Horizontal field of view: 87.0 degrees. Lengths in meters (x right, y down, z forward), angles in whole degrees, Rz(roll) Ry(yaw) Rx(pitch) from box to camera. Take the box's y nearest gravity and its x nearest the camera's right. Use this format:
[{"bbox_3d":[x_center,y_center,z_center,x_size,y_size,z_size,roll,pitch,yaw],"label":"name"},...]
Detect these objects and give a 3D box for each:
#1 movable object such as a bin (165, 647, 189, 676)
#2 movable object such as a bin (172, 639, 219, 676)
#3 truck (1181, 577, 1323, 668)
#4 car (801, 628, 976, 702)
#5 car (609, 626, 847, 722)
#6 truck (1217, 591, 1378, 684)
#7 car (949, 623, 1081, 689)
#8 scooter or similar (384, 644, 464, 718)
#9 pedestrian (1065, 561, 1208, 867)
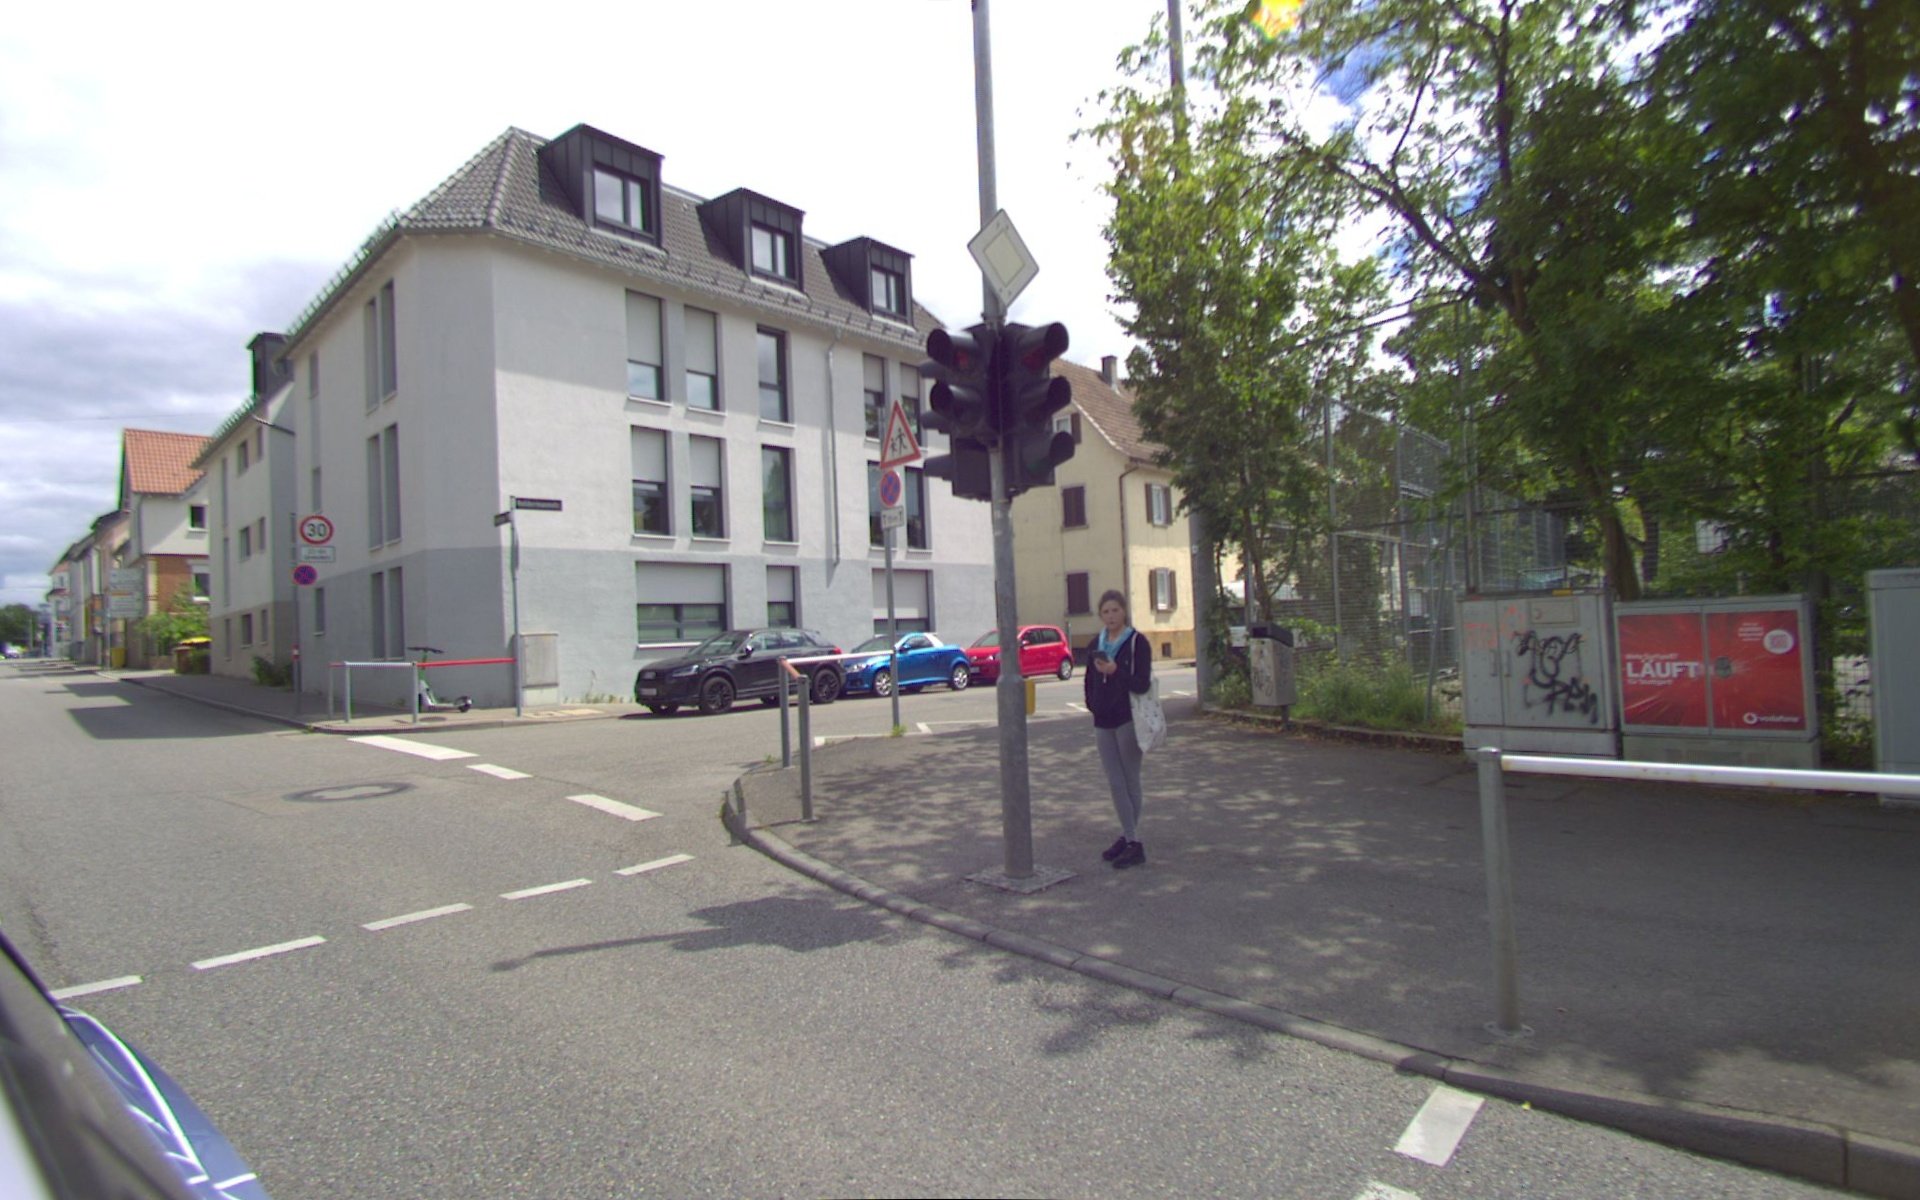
[{"bbox_3d":[-30.786,2.409,39.785,0.660,1.083,0.634,-3,-2,42],"label":"movable object such as a bin"},{"bbox_3d":[-31.281,2.337,41.422,1.170,1.457,1.321,-3,-2,41],"label":"movable object such as a bin"},{"bbox_3d":[11.118,0.842,38.012,2.501,2.949,7.275,-7,-5,37],"label":"truck"},{"bbox_3d":[-1.508,1.401,22.270,1.601,1.411,3.742,-5,-4,41],"label":"car"},{"bbox_3d":[-4.198,1.324,18.763,1.856,1.488,3.947,-5,-3,39],"label":"car"},{"bbox_3d":[8.420,0.874,24.949,2.143,2.050,4.985,-2,-1,39],"label":"truck"},{"bbox_3d":[1.474,1.410,25.938,1.548,1.484,3.565,-6,-5,38],"label":"car"},{"bbox_3d":[-9.569,1.438,18.067,1.295,1.271,0.488,-1,-2,15],"label":"scooter or similar"},{"bbox_3d":[0.979,0.615,5.781,0.663,1.609,0.772,-2,-1,4],"label":"pedestrian"}]
